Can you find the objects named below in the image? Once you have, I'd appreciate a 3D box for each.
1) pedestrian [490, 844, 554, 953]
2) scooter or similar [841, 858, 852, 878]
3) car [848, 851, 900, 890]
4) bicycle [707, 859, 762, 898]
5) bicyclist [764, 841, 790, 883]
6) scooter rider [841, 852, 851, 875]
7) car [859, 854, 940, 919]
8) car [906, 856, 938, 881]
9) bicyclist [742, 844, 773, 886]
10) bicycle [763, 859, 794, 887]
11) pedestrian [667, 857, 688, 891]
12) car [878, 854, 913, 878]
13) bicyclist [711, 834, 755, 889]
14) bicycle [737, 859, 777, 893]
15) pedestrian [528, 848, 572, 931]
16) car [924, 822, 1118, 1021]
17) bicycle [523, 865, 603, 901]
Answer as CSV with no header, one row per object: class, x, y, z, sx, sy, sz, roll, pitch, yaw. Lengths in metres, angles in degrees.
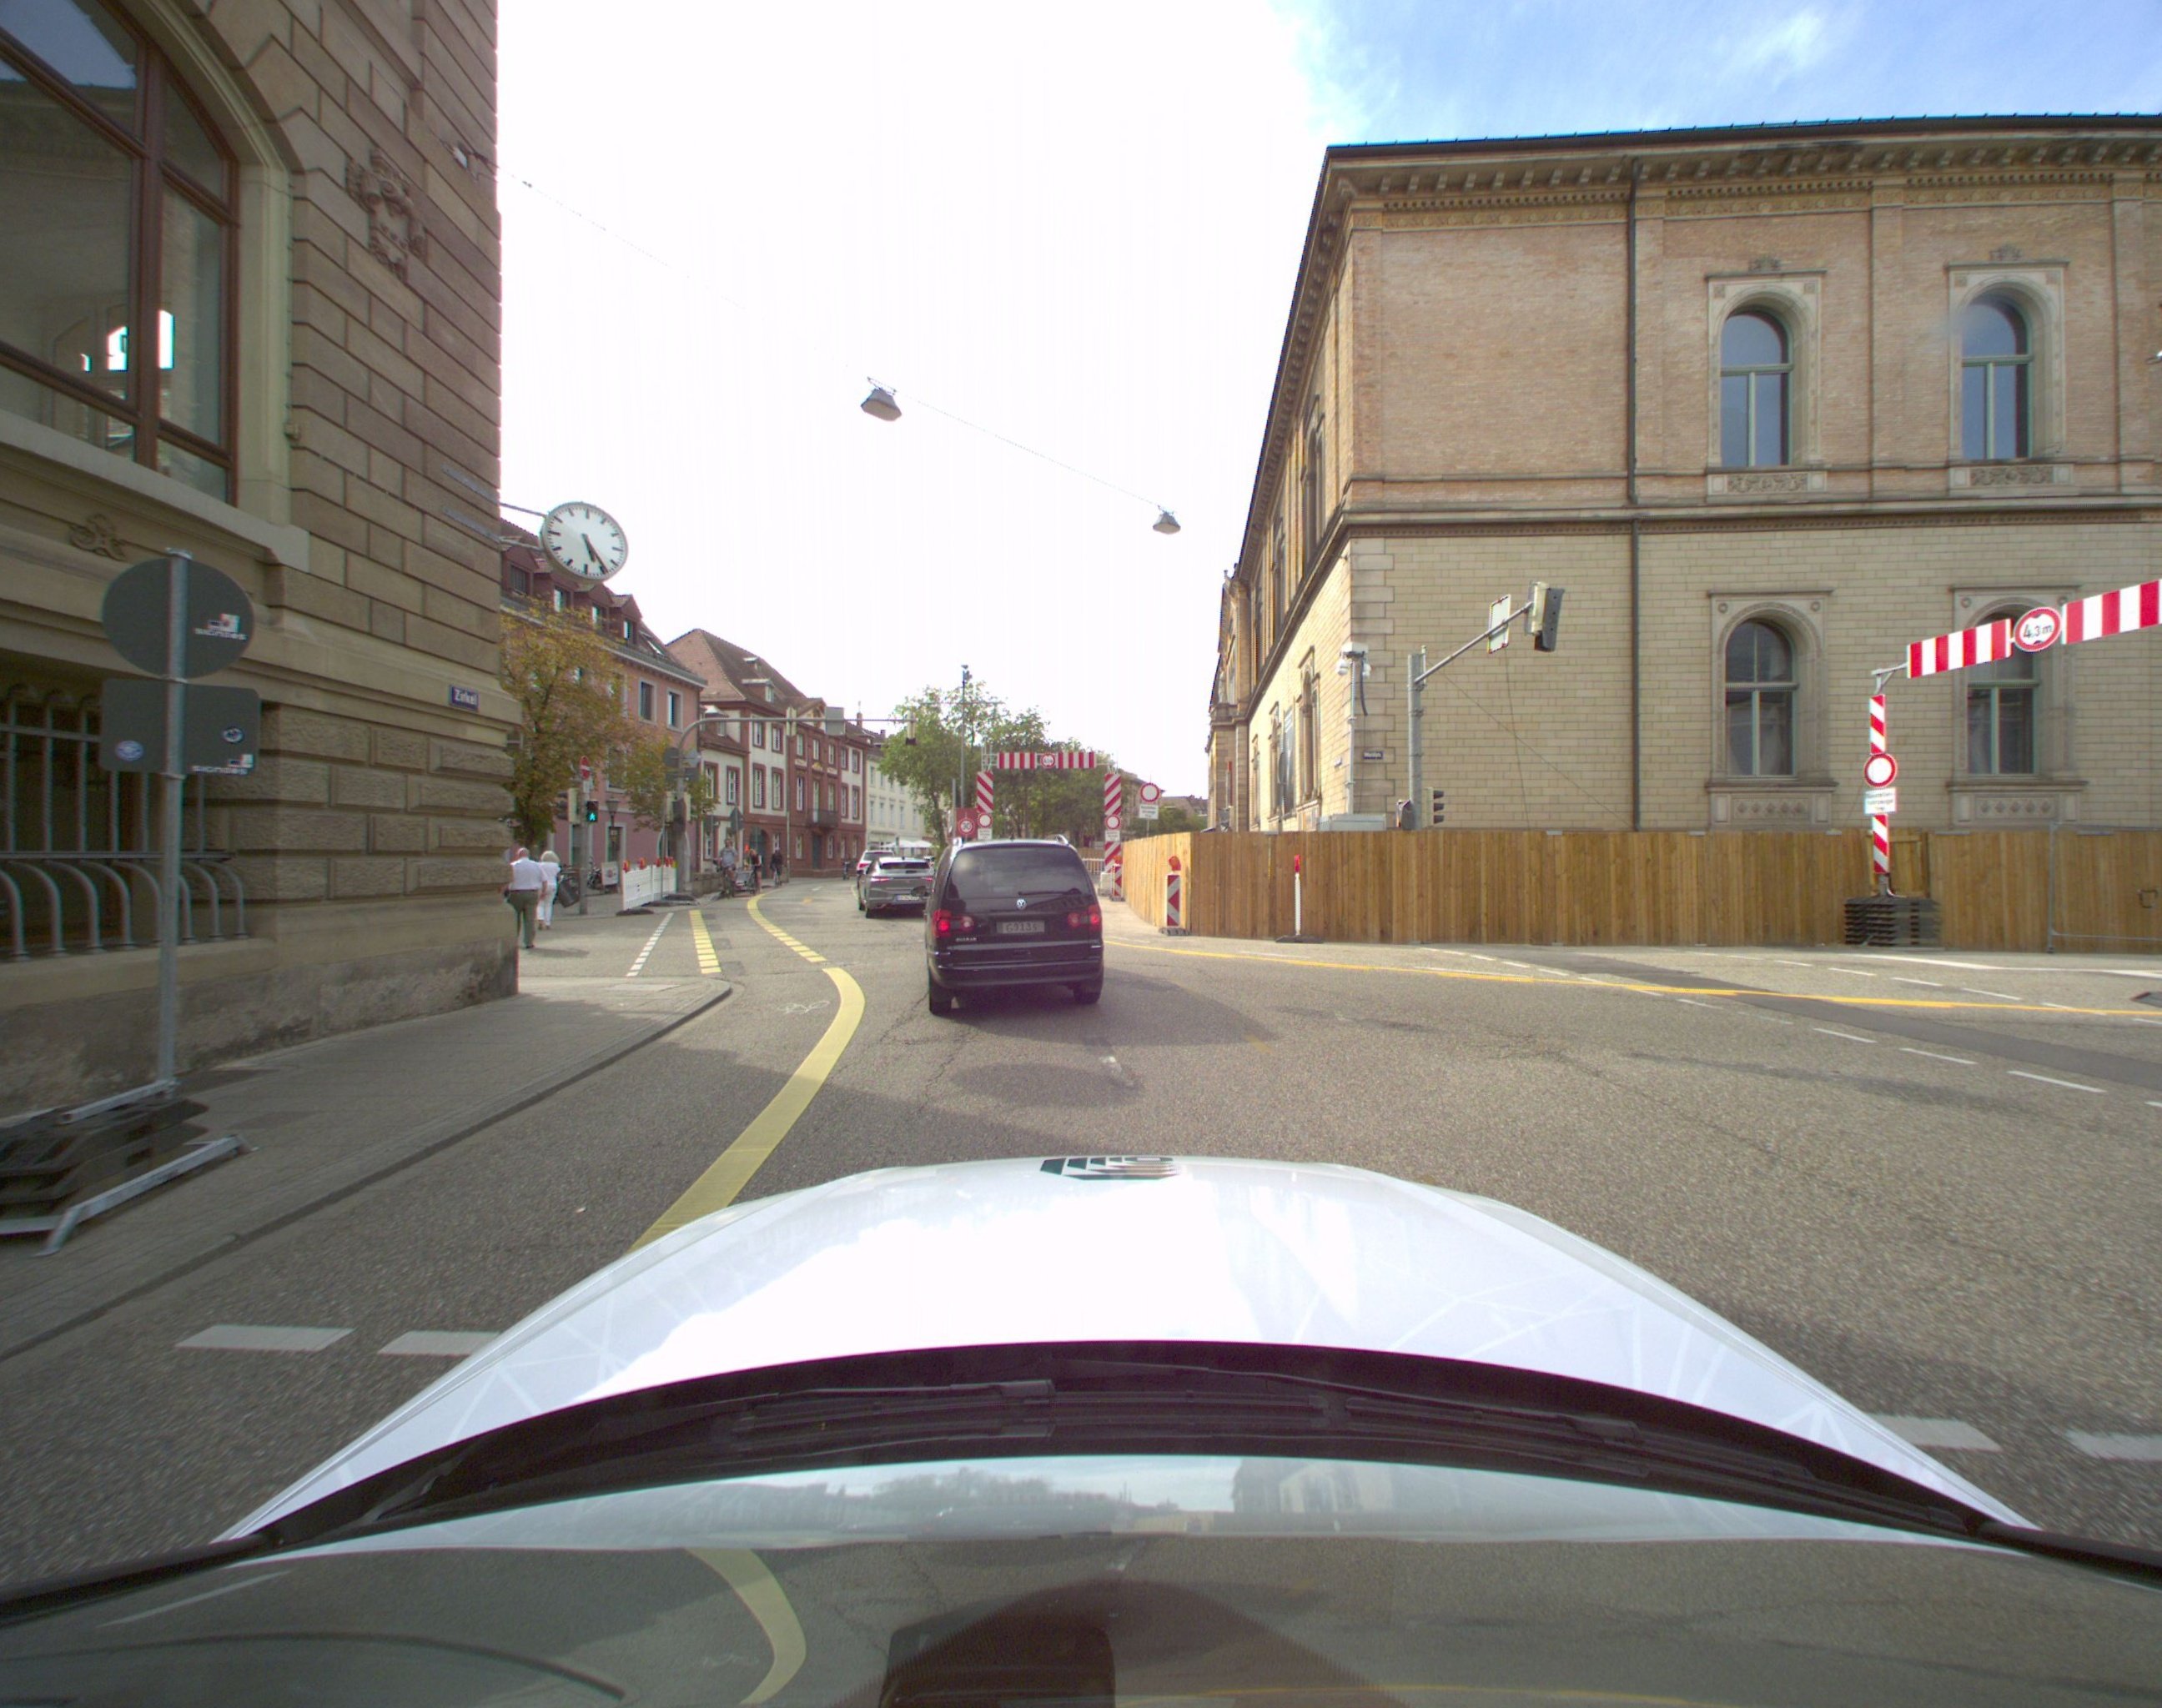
pedestrian,-9.864,0.762,14.361,0.853,1.835,0.847,0,-1,-39
scooter or similar,-15.249,0.916,52.903,0.600,1.255,1.545,0,-1,-13
car,-9.083,0.699,35.507,1.780,1.586,3.972,0,-1,-21
bicycle,-12.001,0.818,28.325,1.056,1.255,3.030,0,-1,-10
bicyclist,-14.233,0.377,38.177,0.926,1.963,1.102,0,-1,-10
scooter rider,-15.252,0.620,52.889,0.600,1.490,0.676,0,-1,-13
car,-4.677,0.757,20.607,1.682,1.469,4.079,1,-1,-17
car,-10.884,0.982,56.046,1.770,1.586,3.992,0,-1,-5
bicyclist,-12.612,0.407,31.794,0.926,1.609,1.060,0,-1,-10
bicycle,-14.327,0.882,38.629,0.926,1.255,2.532,0,-1,-10
pedestrian,-20.151,0.987,40.669,0.662,1.677,0.697,-1,0,-1
car,-10.947,0.694,48.133,1.648,1.321,3.666,0,-1,-7
bicyclist,-11.956,0.263,28.021,1.091,1.824,1.361,0,-1,-10
bicycle,-12.604,0.833,31.747,0.926,1.255,2.532,0,-1,-10
pedestrian,-11.206,0.733,17.178,0.669,1.677,0.690,-1,0,-39
car,-0.911,0.631,9.527,1.790,1.790,4.087,0,-1,-11
bicycle,-15.996,0.894,25.175,2.049,1.059,0.504,-1,-1,-6
